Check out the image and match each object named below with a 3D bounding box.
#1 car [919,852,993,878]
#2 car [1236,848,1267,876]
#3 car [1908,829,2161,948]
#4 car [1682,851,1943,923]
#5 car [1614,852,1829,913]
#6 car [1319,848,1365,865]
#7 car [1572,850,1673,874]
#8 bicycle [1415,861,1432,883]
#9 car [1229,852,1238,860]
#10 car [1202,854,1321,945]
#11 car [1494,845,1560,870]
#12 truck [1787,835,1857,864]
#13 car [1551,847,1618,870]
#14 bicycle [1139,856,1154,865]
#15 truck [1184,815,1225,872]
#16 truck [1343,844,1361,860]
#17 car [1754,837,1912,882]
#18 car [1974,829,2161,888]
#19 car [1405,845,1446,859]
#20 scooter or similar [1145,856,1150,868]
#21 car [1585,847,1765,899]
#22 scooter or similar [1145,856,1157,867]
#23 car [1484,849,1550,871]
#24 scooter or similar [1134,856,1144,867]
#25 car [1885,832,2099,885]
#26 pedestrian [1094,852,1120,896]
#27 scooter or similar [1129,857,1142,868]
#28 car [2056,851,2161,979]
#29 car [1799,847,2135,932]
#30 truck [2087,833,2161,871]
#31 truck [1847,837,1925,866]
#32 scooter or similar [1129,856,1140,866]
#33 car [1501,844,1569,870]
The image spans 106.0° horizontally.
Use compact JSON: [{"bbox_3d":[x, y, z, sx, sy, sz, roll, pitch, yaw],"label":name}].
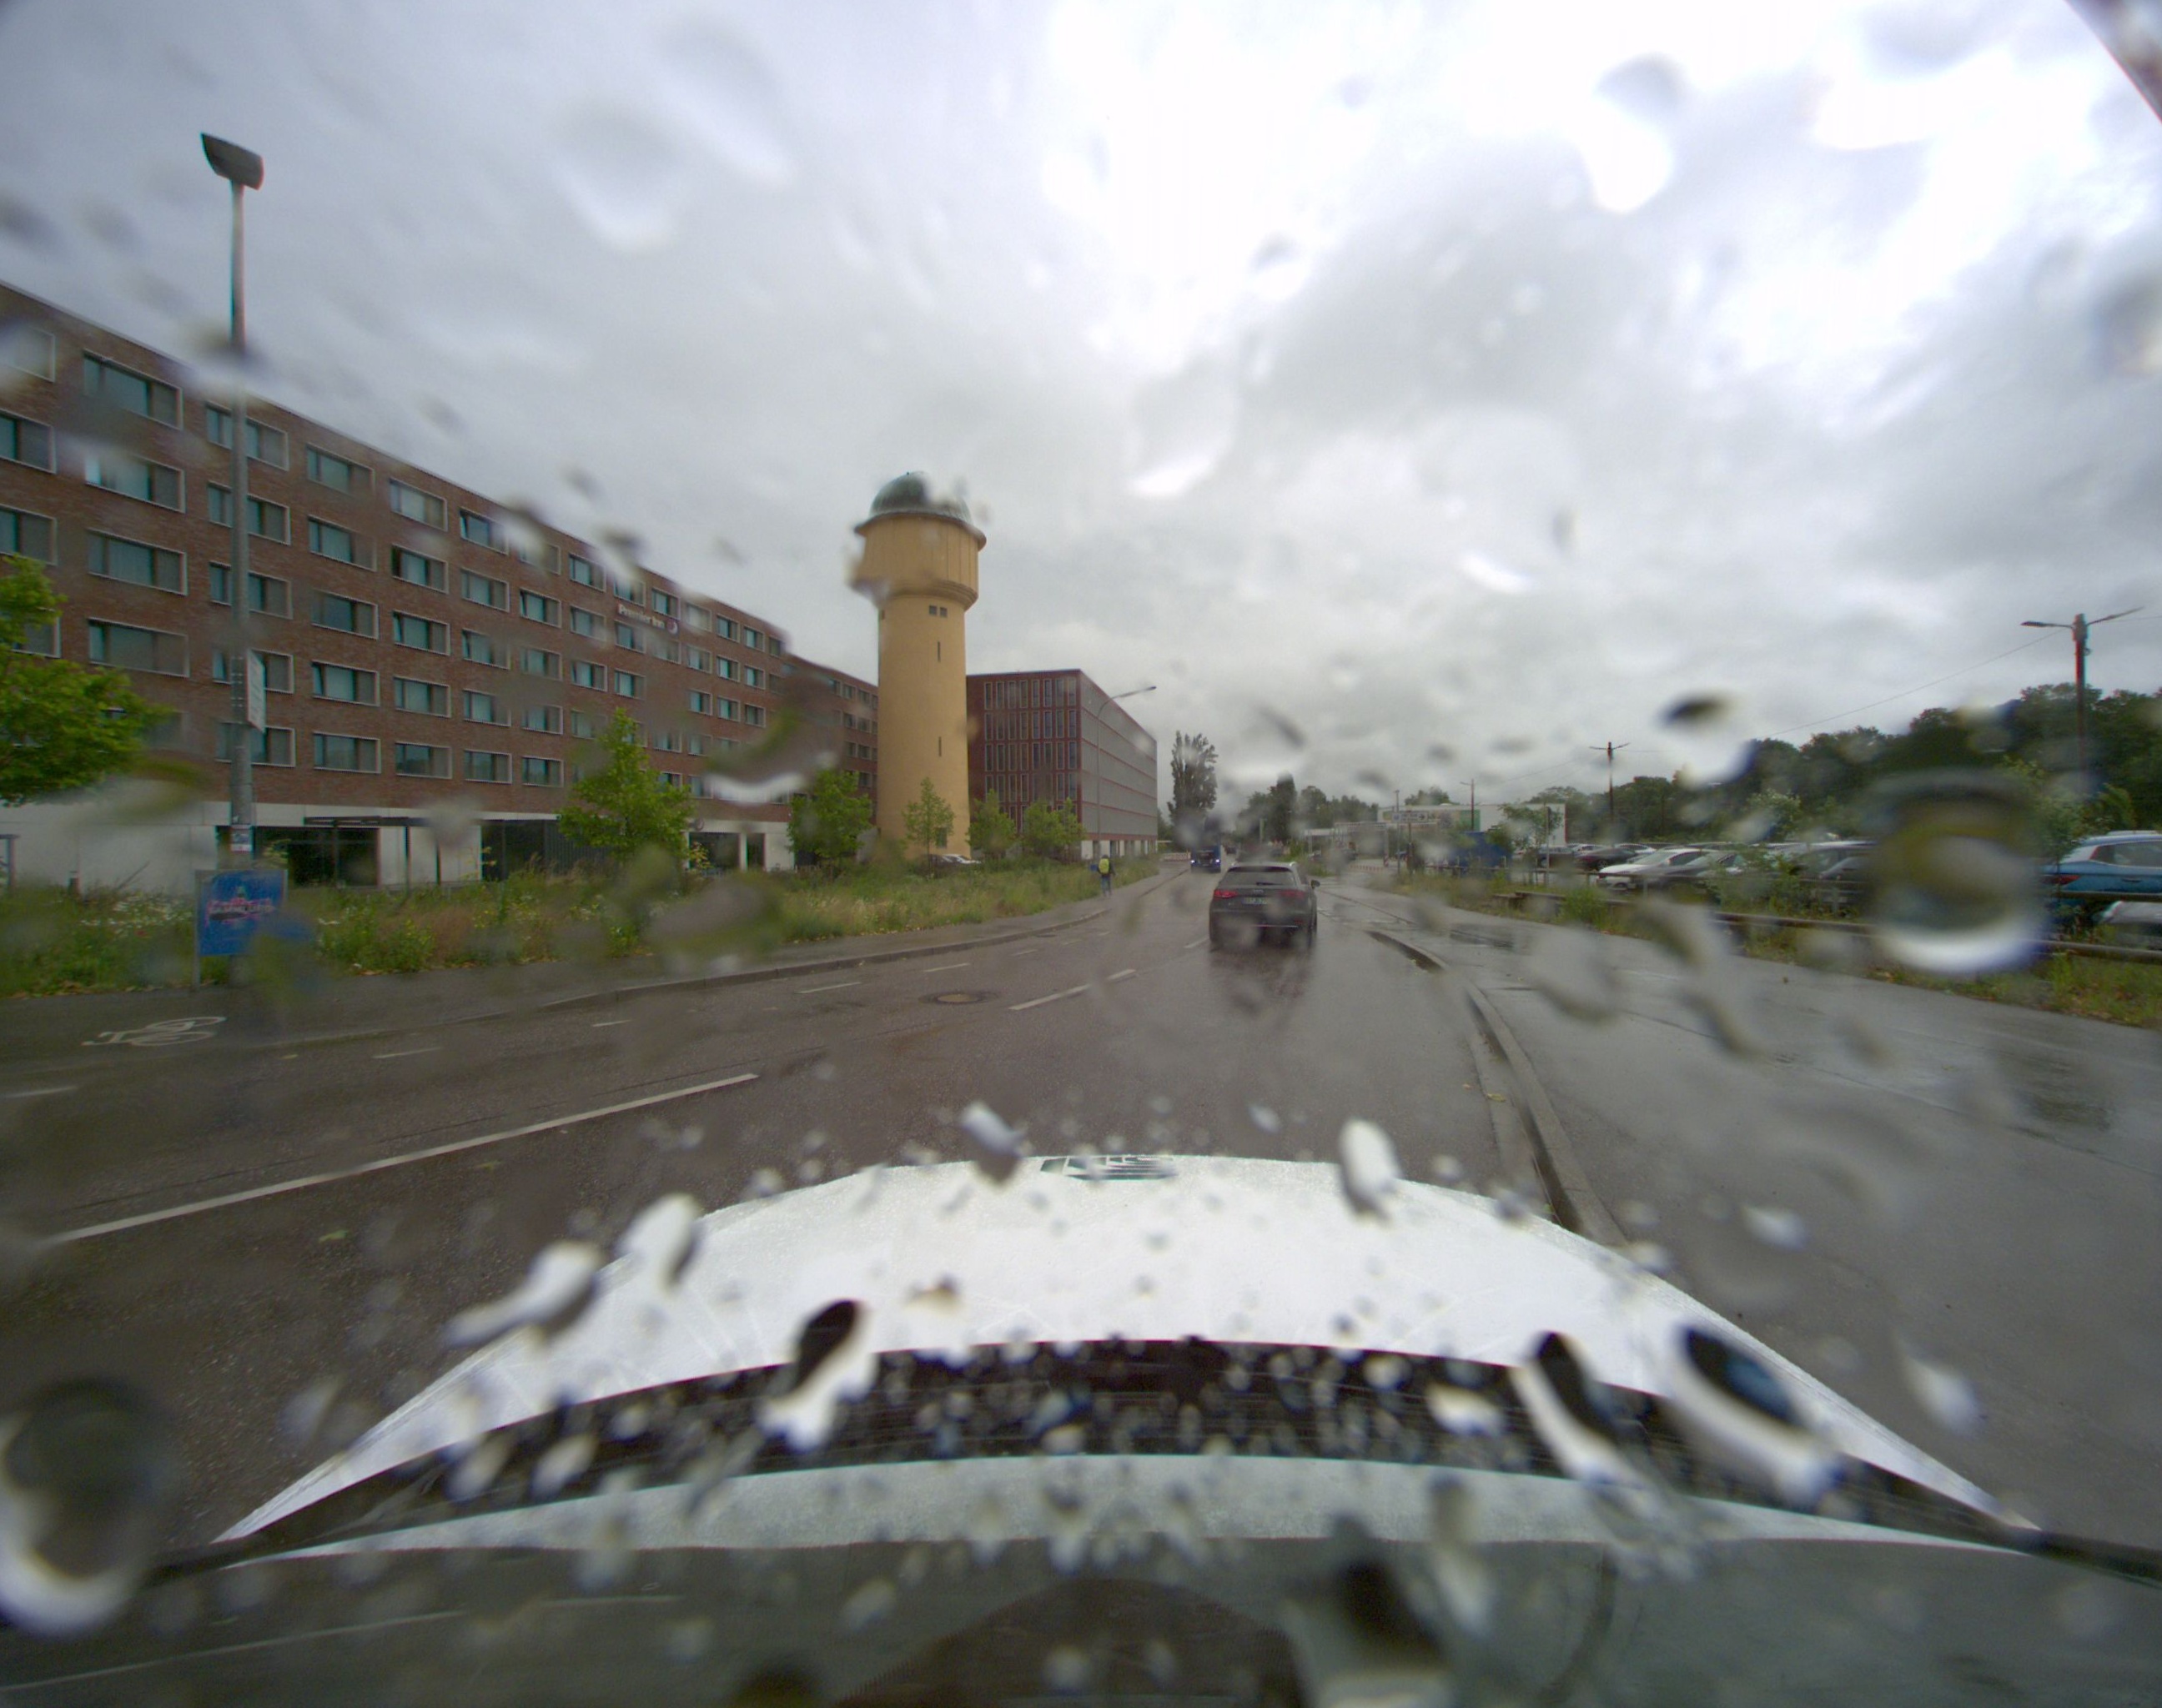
[{"bbox_3d":[-8.401,0.735,54.988,4.497,1.641,2.004,0,0,7],"label":"car"},{"bbox_3d":[12.426,0.573,59.527,1.982,1.910,4.212,-1,0,9],"label":"car"},{"bbox_3d":[14.976,0.480,11.788,3.874,1.595,1.901,0,-1,7],"label":"car"},{"bbox_3d":[15.585,0.675,17.548,3.874,1.423,1.783,0,-1,7],"label":"car"},{"bbox_3d":[16.114,0.701,20.678,3.874,1.423,1.910,0,-1,7],"label":"car"},{"bbox_3d":[28.912,0.327,90.299,4.647,1.735,2.136,-1,-1,14],"label":"car"},{"bbox_3d":[31.969,0.478,48.172,4.560,1.221,1.983,-2,-1,9],"label":"car"},{"bbox_3d":[17.015,0.886,40.417,0.502,1.084,1.713,-1,0,31],"label":"bicycle"},{"bbox_3d":[31.858,0.407,169.716,1.718,1.687,3.910,0,0,13],"label":"car"},{"bbox_3d":[3.572,0.741,15.502,1.880,1.456,4.245,1,0,17],"label":"car"},{"bbox_3d":[32.791,0.277,59.968,3.876,1.584,1.792,-3,-2,13],"label":"car"},{"bbox_3d":[64.121,-0.384,70.591,2.059,2.402,5.098,-1,0,10],"label":"truck"},{"bbox_3d":[40.044,0.356,64.857,4.034,1.605,1.933,-3,-2,11],"label":"car"},{"bbox_3d":[8.470,0.858,105.407,1.848,1.077,0.546,1,0,8],"label":"bicycle"},{"bbox_3d":[10.788,-0.878,71.146,3.275,4.654,6.048,-1,0,8],"label":"truck"},{"bbox_3d":[48.327,-0.402,145.542,2.285,2.659,7.443,-2,0,13],"label":"truck"},{"bbox_3d":[27.811,0.215,30.261,3.926,1.490,1.784,-2,-1,12],"label":"car"},{"bbox_3d":[27.336,0.120,22.001,3.926,1.427,1.893,-2,-1,12],"label":"car"},{"bbox_3d":[39.139,-0.254,92.508,3.961,1.485,2.006,0,-1,11],"label":"car"},{"bbox_3d":[7.396,0.903,90.814,0.463,1.230,1.323,-1,0,7],"label":"scooter or similar"},{"bbox_3d":[16.975,0.534,23.451,3.750,1.393,1.910,0,-1,7],"label":"car"},{"bbox_3d":[8.049,0.848,93.400,1.304,1.230,0.470,-1,0,39],"label":"scooter or similar"},{"bbox_3d":[33.411,0.454,62.544,4.017,1.484,1.934,-3,-2,13],"label":"car"},{"bbox_3d":[6.707,0.866,94.244,1.214,1.230,0.462,-1,0,-38],"label":"scooter or similar"},{"bbox_3d":[27.378,0.159,24.622,3.926,1.427,1.893,-2,-1,12],"label":"car"},{"bbox_3d":[1.053,0.788,32.586,0.903,1.718,1.029,0,-1,10],"label":"pedestrian"},{"bbox_3d":[6.118,0.940,91.715,1.306,1.177,0.469,-1,0,15],"label":"scooter or similar"},{"bbox_3d":[14.105,0.698,8.992,4.137,1.420,1.867,0,-1,7],"label":"car"},{"bbox_3d":[15.710,0.596,14.661,3.874,1.395,1.783,0,-1,7],"label":"car"},{"bbox_3d":[58.382,-0.127,44.071,2.067,2.013,5.296,-1,0,12],"label":"truck"},{"bbox_3d":[62.870,-0.175,63.741,2.057,2.138,5.104,-1,0,15],"label":"truck"},{"bbox_3d":[6.363,0.825,97.132,1.216,1.208,0.419,-1,0,17],"label":"scooter or similar"},{"bbox_3d":[31.814,0.220,57.185,3.749,1.584,1.792,-3,-2,13],"label":"car"}]
